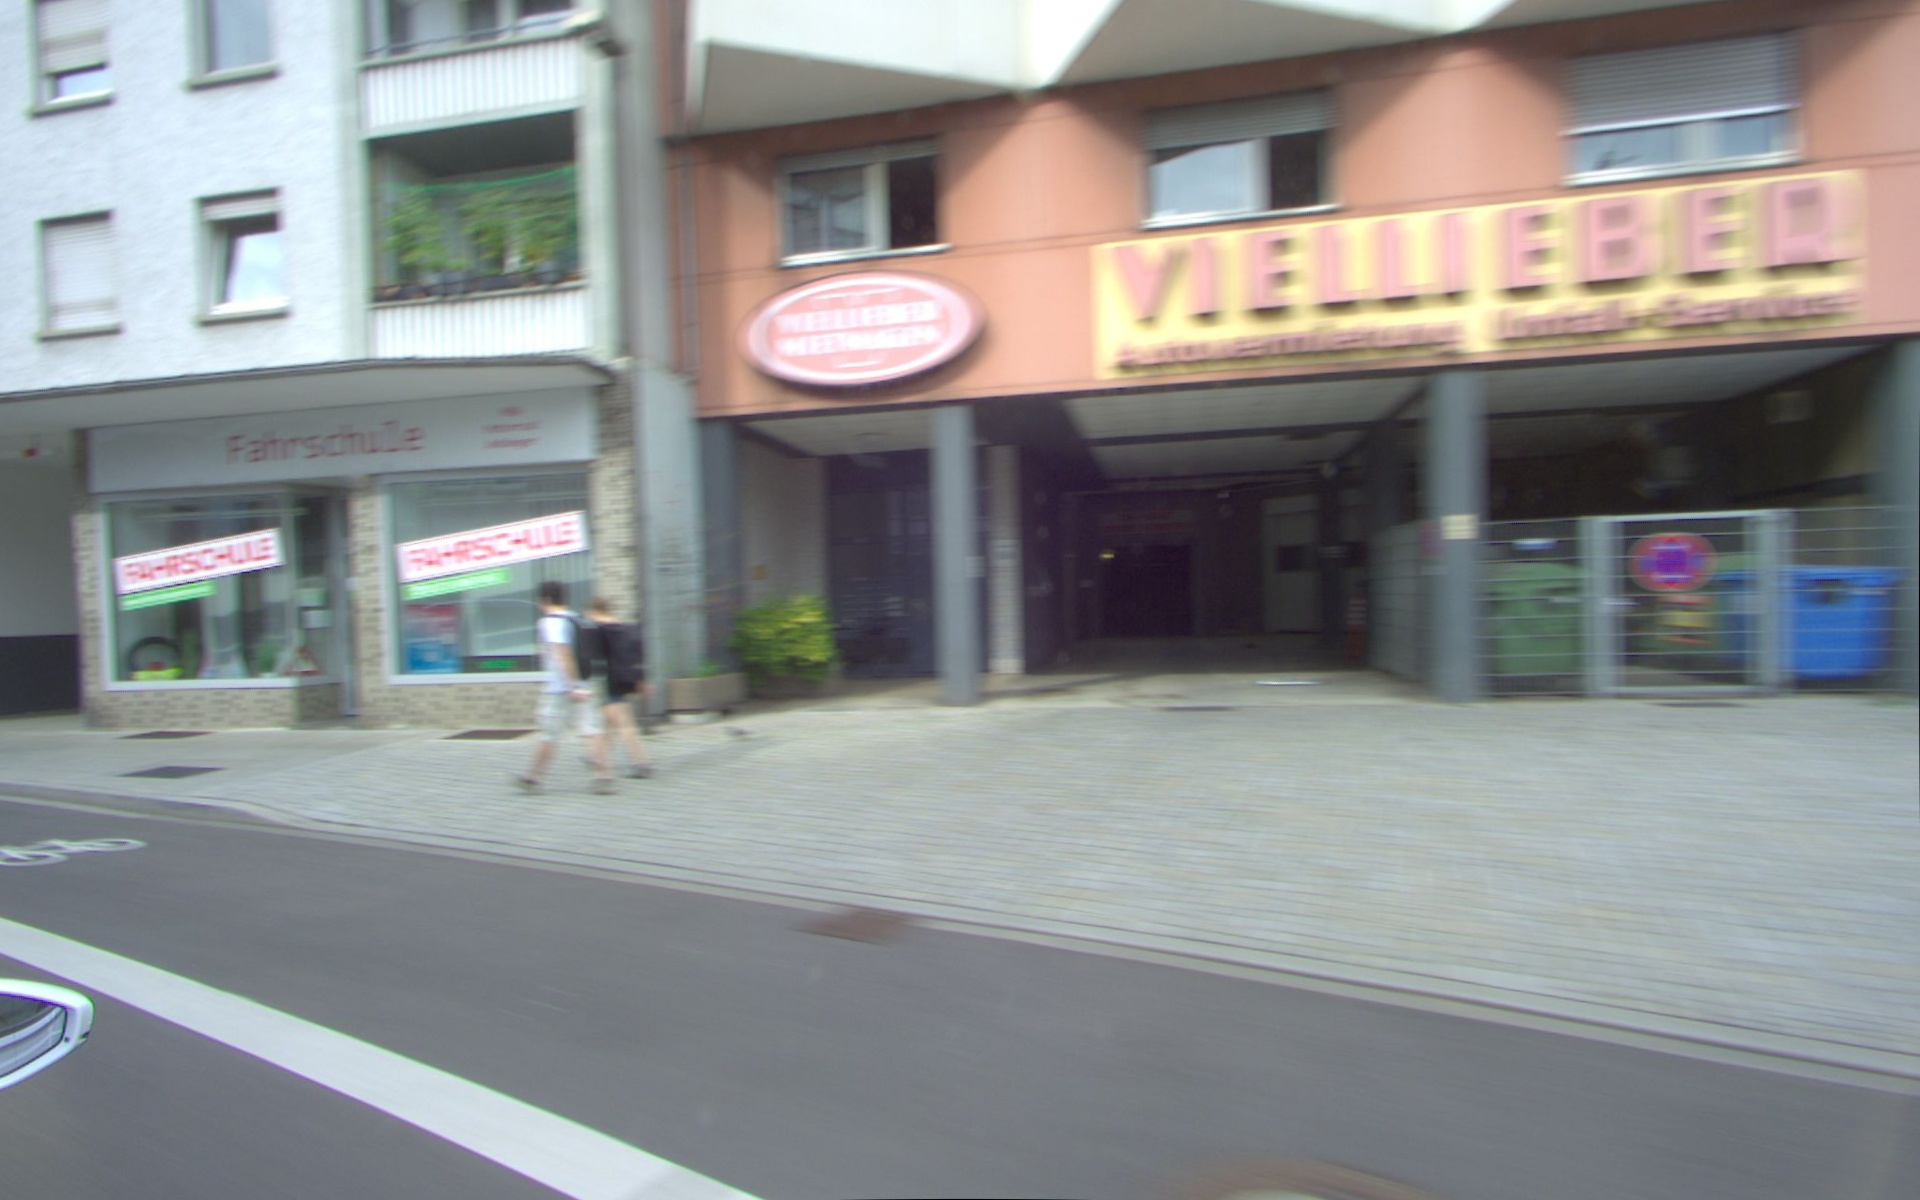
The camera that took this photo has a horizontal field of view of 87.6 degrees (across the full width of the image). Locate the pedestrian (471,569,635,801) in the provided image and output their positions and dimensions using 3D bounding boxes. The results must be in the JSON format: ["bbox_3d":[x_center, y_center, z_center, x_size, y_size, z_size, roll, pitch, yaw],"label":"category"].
[{"bbox_3d":[-3.302,0.664,8.191,0.843,1.775,0.752,-2,5,14],"label":"pedestrian"}]

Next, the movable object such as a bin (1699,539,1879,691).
[{"bbox_3d":[8.901,0.157,10.825,1.068,1.536,1.146,-1,1,11],"label":"movable object such as a bin"}]

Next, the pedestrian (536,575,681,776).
[{"bbox_3d":[-3.094,0.654,8.871,0.926,1.692,0.605,-2,4,11],"label":"pedestrian"}]

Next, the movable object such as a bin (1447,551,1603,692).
[{"bbox_3d":[6.290,0.232,11.235,1.201,1.480,1.148,-2,1,11],"label":"movable object such as a bin"}]

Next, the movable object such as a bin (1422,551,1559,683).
[{"bbox_3d":[6.535,0.202,12.424,1.174,1.536,1.196,-2,1,11],"label":"movable object such as a bin"}]

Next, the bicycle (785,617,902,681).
[{"bbox_3d":[-1.720,0.723,14.803,1.647,0.908,0.453,-1,1,12],"label":"bicycle"}]
